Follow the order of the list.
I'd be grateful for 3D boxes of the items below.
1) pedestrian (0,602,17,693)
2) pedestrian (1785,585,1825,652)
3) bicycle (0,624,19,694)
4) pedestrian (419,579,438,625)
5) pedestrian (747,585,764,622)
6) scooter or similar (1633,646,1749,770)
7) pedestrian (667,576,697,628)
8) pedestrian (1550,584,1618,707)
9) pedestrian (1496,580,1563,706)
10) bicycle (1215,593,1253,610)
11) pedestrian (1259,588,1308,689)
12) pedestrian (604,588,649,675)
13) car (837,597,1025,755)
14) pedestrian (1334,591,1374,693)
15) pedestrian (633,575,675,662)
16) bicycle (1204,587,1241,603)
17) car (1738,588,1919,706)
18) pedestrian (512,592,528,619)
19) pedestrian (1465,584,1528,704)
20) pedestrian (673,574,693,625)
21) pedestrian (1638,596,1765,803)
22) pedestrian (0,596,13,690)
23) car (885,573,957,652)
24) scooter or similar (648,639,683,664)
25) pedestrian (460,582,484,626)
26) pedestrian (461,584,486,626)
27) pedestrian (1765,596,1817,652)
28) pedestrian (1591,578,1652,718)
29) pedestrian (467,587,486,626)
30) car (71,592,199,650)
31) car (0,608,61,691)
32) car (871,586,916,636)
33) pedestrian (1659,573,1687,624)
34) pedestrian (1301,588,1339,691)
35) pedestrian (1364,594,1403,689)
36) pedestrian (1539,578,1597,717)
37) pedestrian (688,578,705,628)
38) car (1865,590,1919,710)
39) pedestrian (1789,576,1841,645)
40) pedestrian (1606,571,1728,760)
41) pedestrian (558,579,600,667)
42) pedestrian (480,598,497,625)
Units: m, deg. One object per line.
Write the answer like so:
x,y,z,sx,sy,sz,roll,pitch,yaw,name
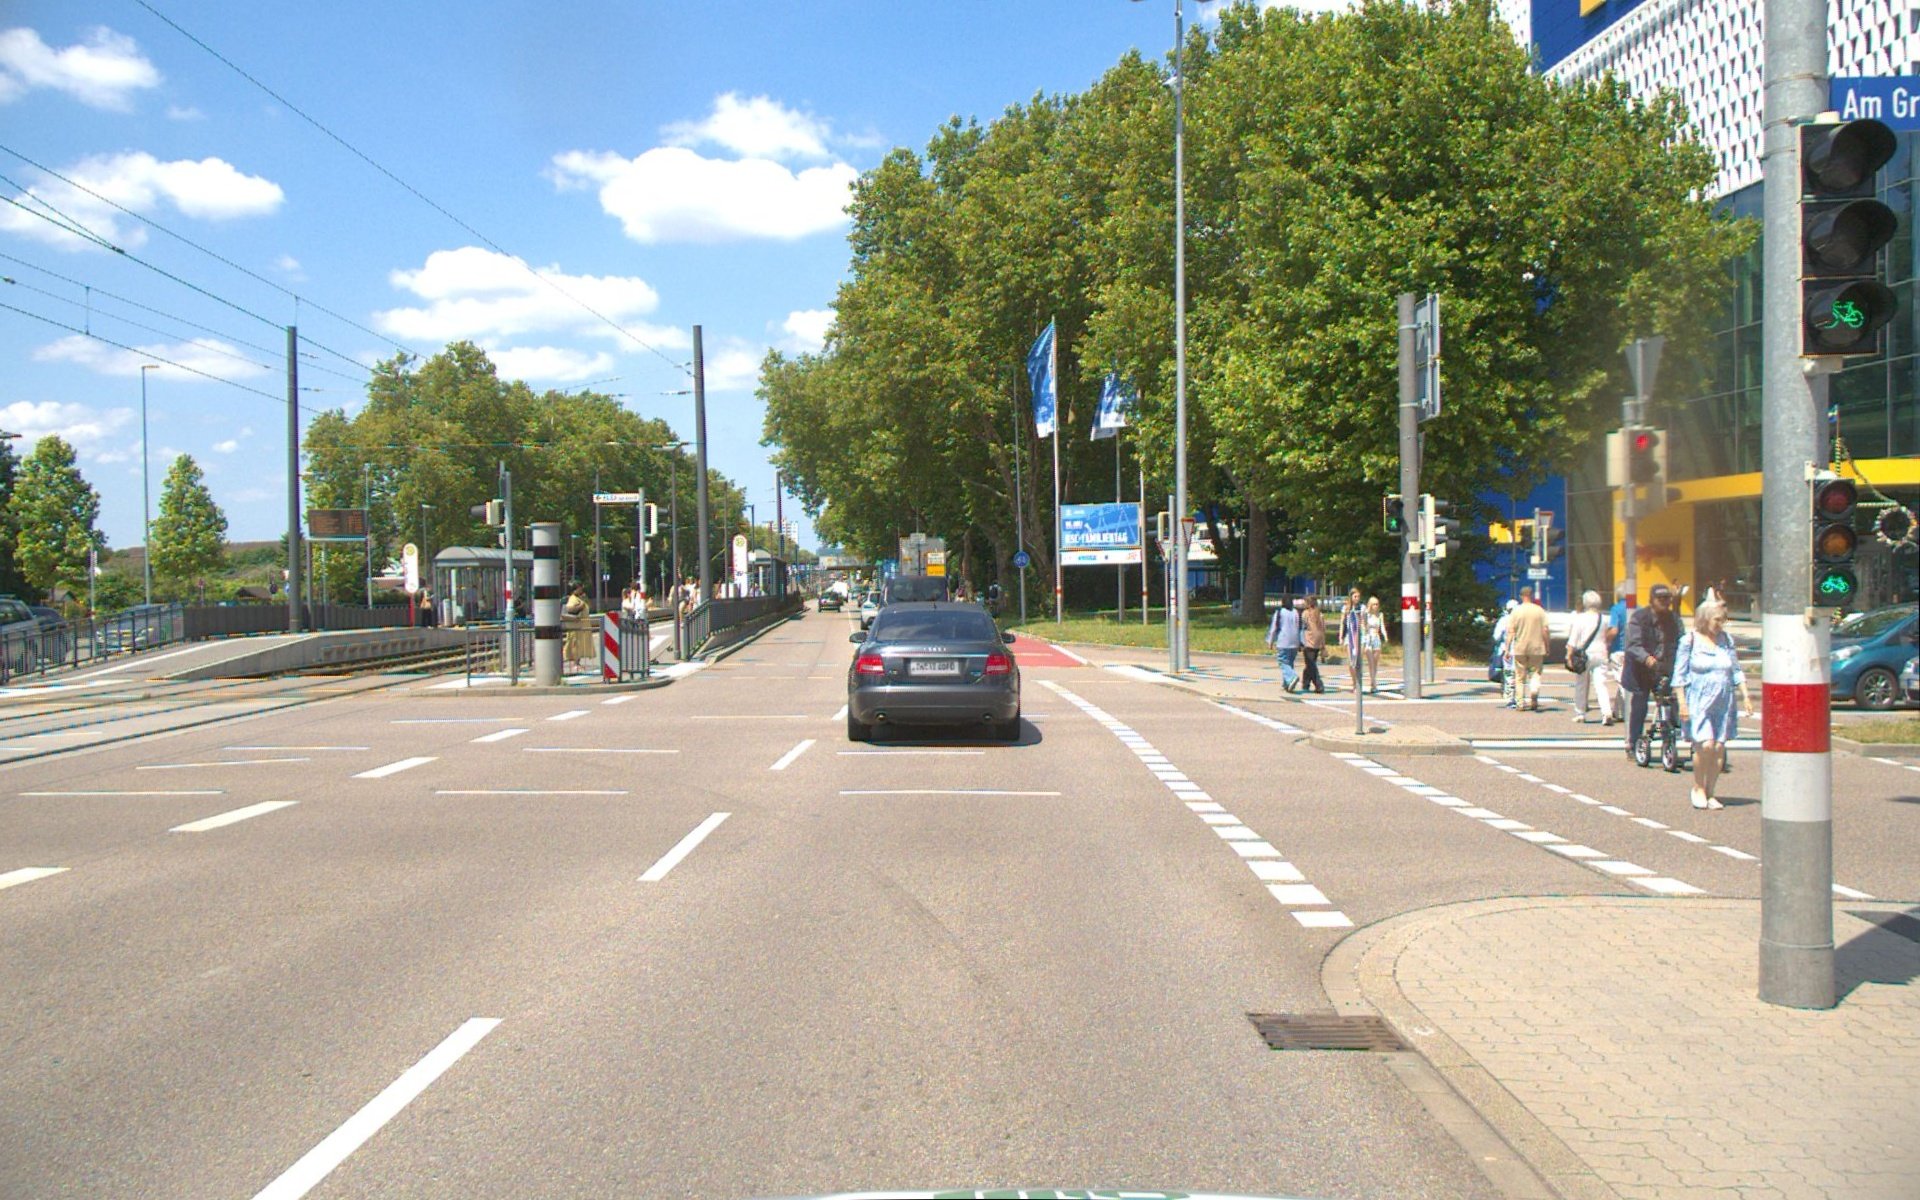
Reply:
-17.048,0.821,28.886,0.747,1.575,0.763,0,0,-6,pedestrian
20.553,0.443,40.238,0.598,1.614,0.632,0,0,-9,pedestrian
-16.398,0.947,26.746,1.942,1.120,0.760,0,0,-20,bicycle
-19.423,0.081,60.467,0.547,1.666,0.804,0,0,-11,pedestrian
-9.419,0.172,76.142,0.718,1.694,0.741,0,0,-5,pedestrian
6.526,0.946,14.796,0.675,1.049,0.863,0,0,2,scooter or similar
-8.803,0.067,52.384,0.873,1.633,0.923,0,0,-5,pedestrian
8.717,0.620,23.134,0.778,1.688,0.853,0,0,13,pedestrian
7.794,0.577,22.662,0.778,1.688,0.853,0,0,13,pedestrian
19.270,0.104,116.375,2.498,1.130,0.757,0,0,-9,bicycle
5.348,0.626,27.309,0.749,1.634,0.897,0,0,14,pedestrian
-6.269,0.584,31.098,0.770,1.600,0.763,0,0,-7,pedestrian
-0.205,0.764,18.156,1.804,1.510,4.001,1,-1,2,car
6.619,0.695,27.804,0.516,1.695,0.640,0,0,0,pedestrian
-6.503,0.380,35.196,0.846,1.833,0.882,0,0,-8,pedestrian
18.777,-0.340,118.457,2.498,1.130,0.757,0,0,-9,bicycle
13.439,0.640,23.443,3.909,1.583,1.998,0,0,-6,car
-20.641,0.259,77.583,0.565,1.211,0.638,-1,0,-3,pedestrian
7.705,0.622,23.780,0.778,1.688,0.853,0,0,13,pedestrian
-9.312,-0.014,55.582,0.601,1.711,0.719,0,0,-6,pedestrian
5.582,0.724,12.490,0.577,1.502,0.806,1,0,0,pedestrian
-17.784,0.788,30.046,0.747,1.701,0.763,0,0,-6,pedestrian
-1.068,0.306,44.118,1.811,1.994,4.143,0,0,-2,car
-6.311,1.102,35.424,0.712,0.514,0.456,0,0,-7,scooter or similar
-19.460,0.156,65.958,0.723,1.759,0.577,-1,0,33,pedestrian
-19.867,0.203,67.479,0.811,1.667,0.577,-1,0,33,pedestrian
20.200,0.581,40.218,0.834,1.355,0.795,0,0,-11,pedestrian
8.030,0.579,20.108,0.589,1.666,0.864,0,-1,16,pedestrian
-19.918,0.263,68.143,0.565,1.560,0.638,-1,0,-3,pedestrian
-24.513,0.604,49.300,1.954,1.657,3.998,0,0,-3,car
-20.376,1.003,33.796,1.954,1.657,3.998,0,0,-3,car
-2.729,0.418,68.231,1.811,1.994,4.143,0,0,-2,car
25.177,-0.051,58.407,0.764,1.766,0.742,0,0,8,pedestrian
6.084,0.648,27.924,0.609,1.712,0.726,0,0,14,pedestrian
7.225,0.703,28.243,0.516,1.607,0.612,0,0,0,pedestrian
7.434,0.574,20.234,0.593,1.666,0.864,0,-1,16,pedestrian
-8.645,0.099,54.318,0.487,1.605,0.556,-1,0,-5,pedestrian
13.337,0.598,20.085,3.747,1.421,1.803,0,0,-3,car
20.364,0.248,39.391,0.901,1.614,0.632,0,0,-9,pedestrian
6.562,0.587,15.384,0.766,1.702,0.947,0,0,3,pedestrian
-7.419,0.444,32.222,0.718,1.702,0.677,0,0,-7,pedestrian
-19.969,0.493,70.024,0.565,1.114,0.638,-1,0,-3,pedestrian
